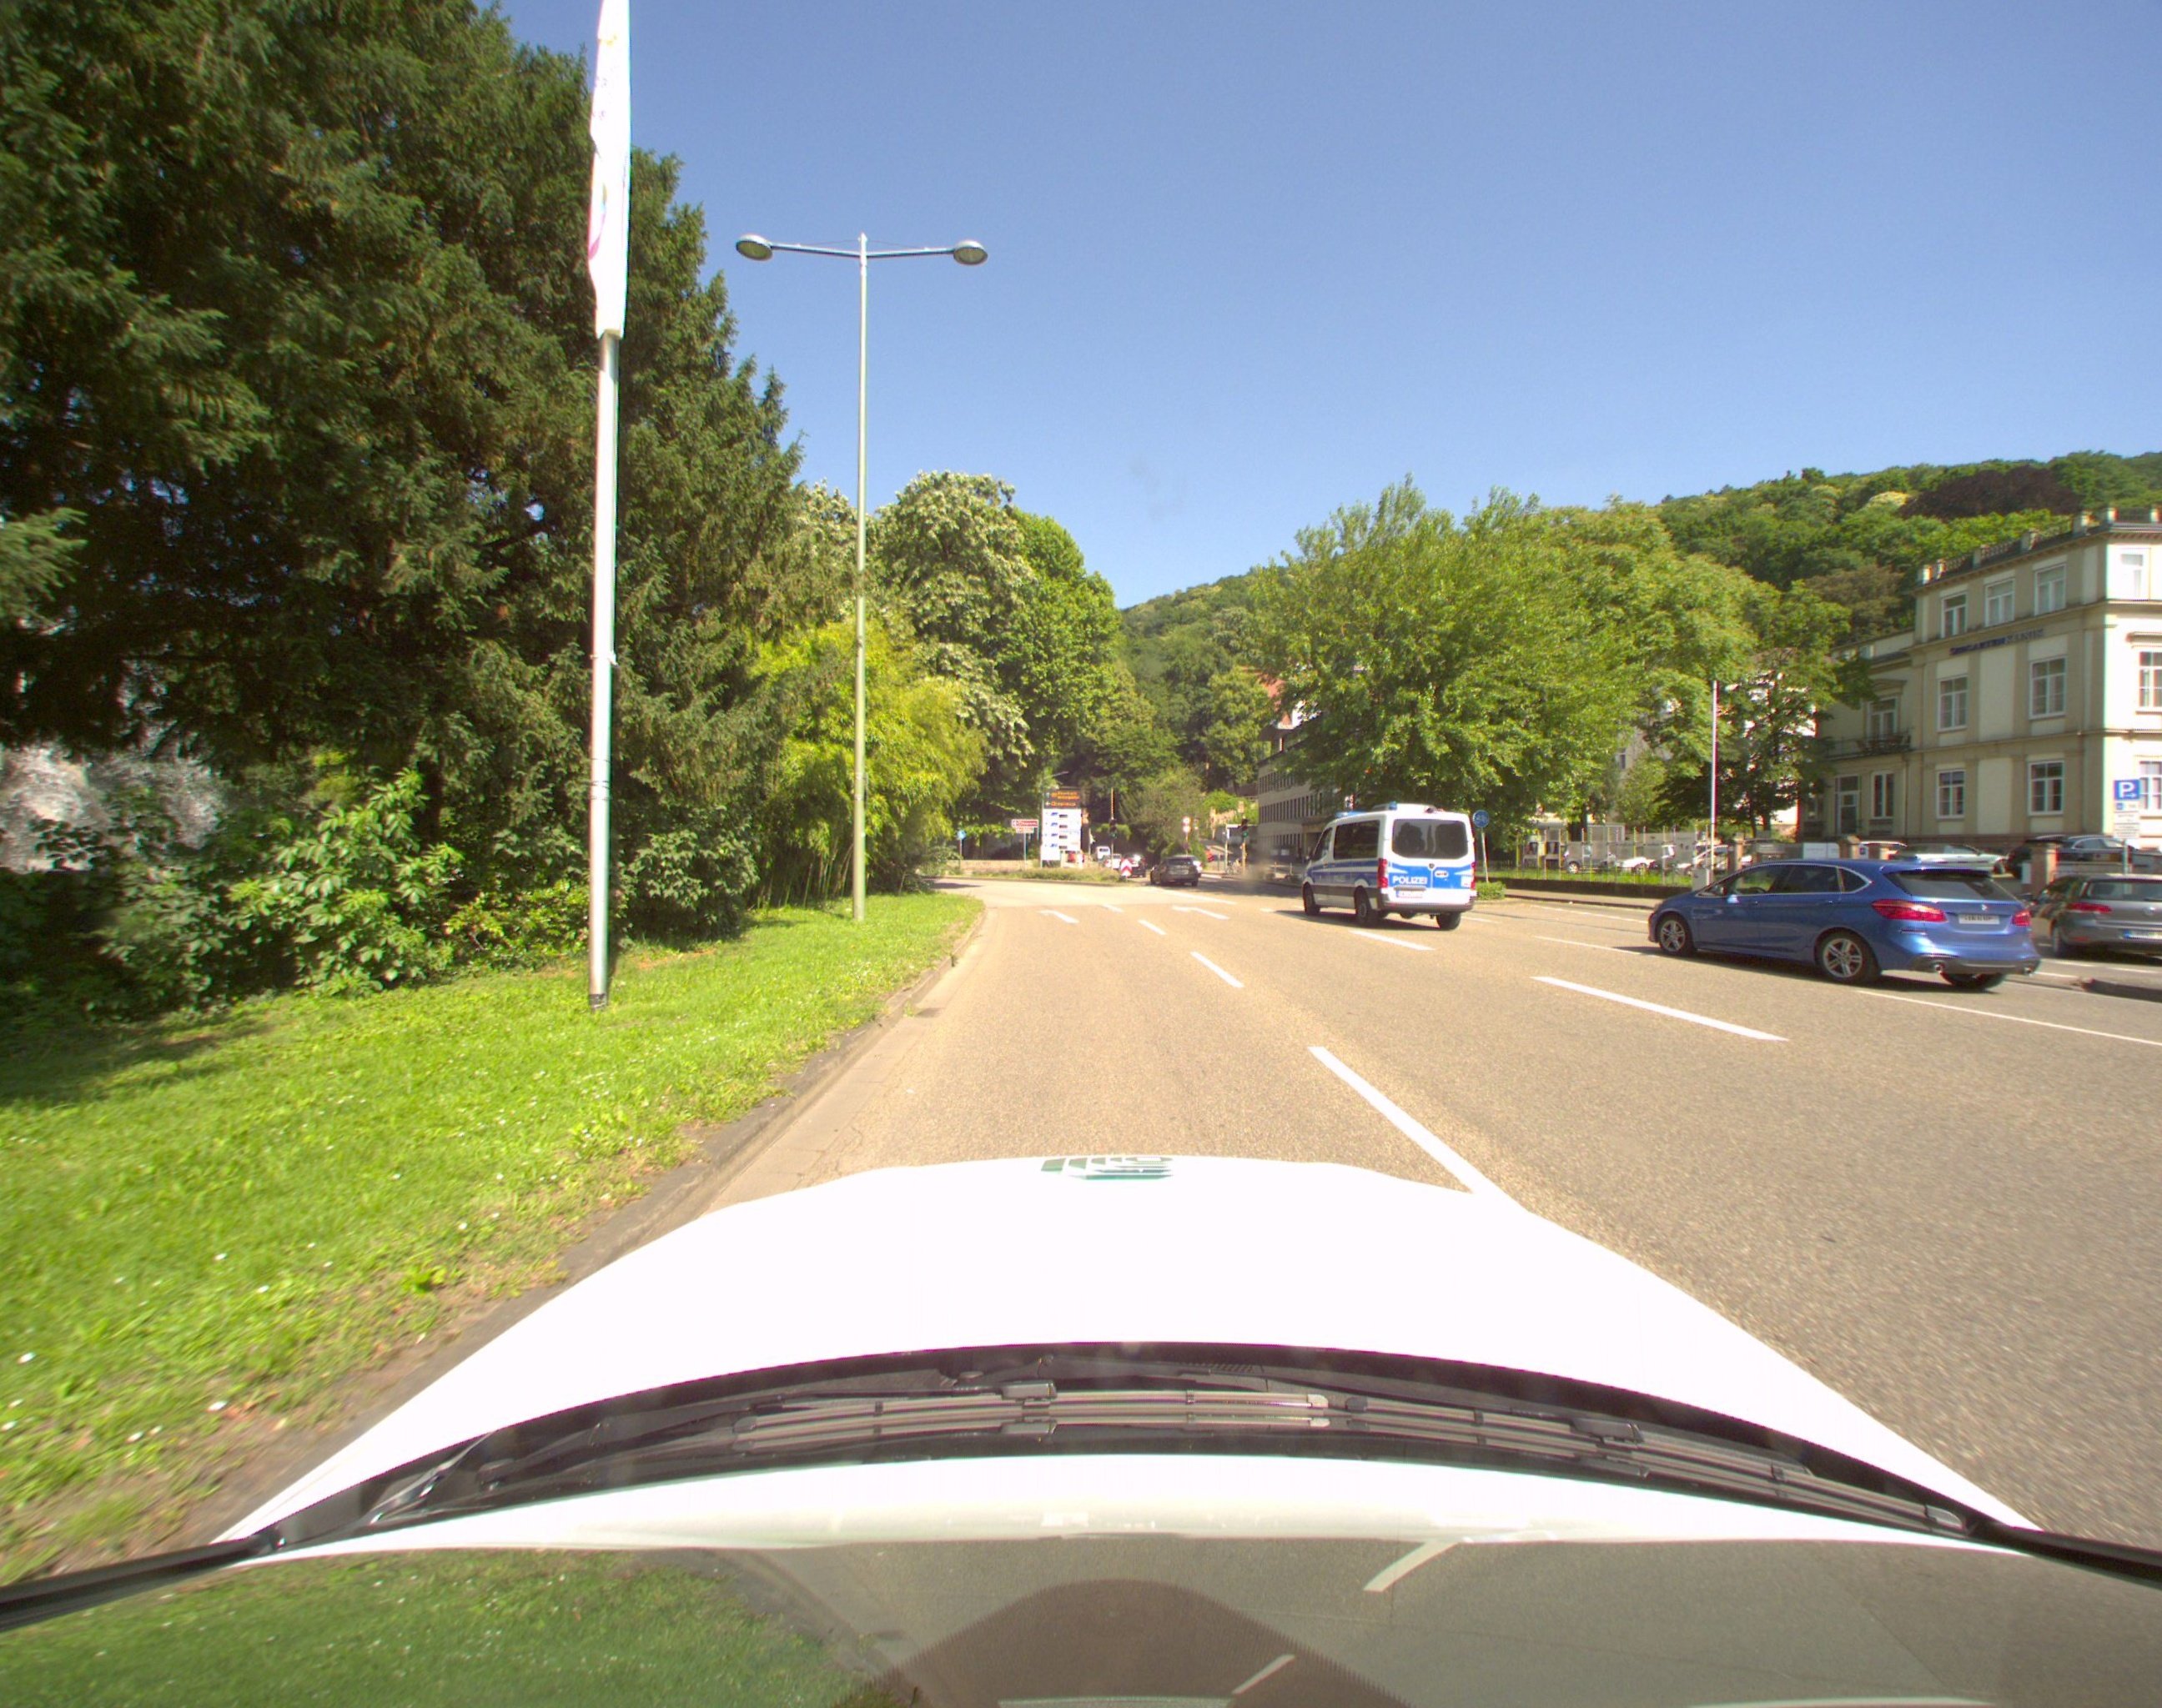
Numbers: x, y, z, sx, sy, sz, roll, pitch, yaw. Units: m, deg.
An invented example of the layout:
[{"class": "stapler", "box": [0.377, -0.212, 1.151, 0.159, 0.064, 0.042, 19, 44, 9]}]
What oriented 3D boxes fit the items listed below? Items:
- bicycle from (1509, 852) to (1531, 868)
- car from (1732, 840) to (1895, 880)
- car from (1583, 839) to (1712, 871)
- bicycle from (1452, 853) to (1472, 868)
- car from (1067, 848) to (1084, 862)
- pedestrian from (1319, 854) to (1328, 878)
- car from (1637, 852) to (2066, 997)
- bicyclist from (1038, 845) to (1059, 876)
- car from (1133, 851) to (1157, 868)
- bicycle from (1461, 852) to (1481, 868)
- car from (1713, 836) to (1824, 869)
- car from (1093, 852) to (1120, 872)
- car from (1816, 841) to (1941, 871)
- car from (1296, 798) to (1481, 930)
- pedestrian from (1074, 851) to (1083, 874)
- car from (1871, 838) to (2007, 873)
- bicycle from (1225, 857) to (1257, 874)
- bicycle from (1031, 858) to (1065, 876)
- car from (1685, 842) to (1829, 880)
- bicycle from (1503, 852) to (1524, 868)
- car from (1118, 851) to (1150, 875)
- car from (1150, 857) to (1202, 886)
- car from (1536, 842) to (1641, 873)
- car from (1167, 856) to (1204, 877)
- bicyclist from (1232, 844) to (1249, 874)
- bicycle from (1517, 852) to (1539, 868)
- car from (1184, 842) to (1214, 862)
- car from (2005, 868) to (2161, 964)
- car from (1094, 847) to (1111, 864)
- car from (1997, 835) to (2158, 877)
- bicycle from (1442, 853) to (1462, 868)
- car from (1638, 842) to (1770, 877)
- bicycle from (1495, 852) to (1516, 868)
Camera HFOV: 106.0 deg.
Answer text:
[{"class": "bicycle", "box": [31.005, 0.420, 57.500, 0.535, 1.085, 1.834, 0, 0, 0]}, {"class": "car", "box": [25.181, 0.193, 28.098, 4.033, 1.336, 1.988, 0, 0, -5]}, {"class": "car", "box": [24.346, 0.043, 35.078, 4.458, 1.336, 1.818, 0, 0, -5]}, {"class": "bicycle", "box": [26.693, 0.443, 57.139, 0.535, 1.085, 1.834, 0, 0, 0]}, {"class": "car", "box": [-0.595, 0.113, 90.873, 1.752, 1.461, 3.491, 1, 0, -3]}, {"class": "pedestrian", "box": [14.576, 0.702, 48.974, 0.485, 1.458, 0.738, -1, -1, 21]}, {"class": "car", "box": [9.981, 0.775, 11.126, 1.715, 1.541, 4.268, 1, 1, -3]}, {"class": "bicyclist", "box": [-2.079, 0.420, 51.967, 1.116, 1.932, 0.752, 0, 0, 22]}, {"class": "car", "box": [5.726, 0.451, 73.062, 1.752, 1.461, 3.642, 1, 0, -3]}, {"class": "bicycle", "box": [27.338, 0.440, 57.162, 0.535, 1.085, 1.834, 0, 0, 0]}, {"class": "car", "box": [34.831, -0.069, 41.310, 4.300, 1.603, 1.818, 0, 0, -5]}, {"class": "car", "box": [1.928, 0.616, 62.360, 1.752, 1.461, 3.642, 1, 0, -3]}, {"class": "car", "box": [35.927, 0.087, 36.740, 4.069, 1.336, 1.818, 0, 0, -5]}, {"class": "car", "box": [6.528, 0.199, 18.010, 2.068, 2.508, 4.924, 1, 0, -3]}, {"class": "pedestrian", "box": [-0.176, 0.621, 57.794, 0.544, 1.621, 0.635, 0, 0, 7]}, {"class": "car", "box": [35.818, 0.037, 34.035, 4.042, 1.419, 1.818, 0, 0, -5]}, {"class": "bicycle", "box": [10.571, 0.745, 53.993, 2.064, 1.112, 0.759, 0, 0, 9]}, {"class": "bicycle", "box": [-2.103, 0.848, 51.983, 2.058, 1.112, 0.761, 0, 0, 22]}, {"class": "car", "box": [25.192, 0.248, 30.419, 4.033, 1.336, 1.857, 0, 0, -5]}, {"class": "bicycle", "box": [30.415, 0.423, 57.285, 0.535, 1.085, 1.834, 0, 0, 0]}, {"class": "car", "box": [3.456, 0.563, 53.385, 1.752, 1.461, 3.491, 1, 0, -3]}, {"class": "car", "box": [4.608, 0.830, 39.911, 1.754, 1.334, 3.794, 1, 0, -6]}, {"class": "car", "box": [24.820, 0.169, 39.881, 4.139, 1.476, 1.873, 0, 0, -7]}, {"class": "car", "box": [6.560, 0.787, 51.556, 1.752, 1.213, 3.491, 1, 0, -3]}, {"class": "bicyclist", "box": [10.555, 0.335, 53.996, 1.119, 1.932, 0.750, 0, 0, 10]}, {"class": "bicycle", "box": [31.602, 0.417, 57.581, 0.535, 1.085, 1.834, 0, 0, 0]}, {"class": "car", "box": [10.373, -0.148, 71.818, 1.926, 1.697, 3.996, 0, 0, -2]}, {"class": "car", "box": [18.172, 1.007, 14.463, 1.804, 1.461, 4.132, 1, 0, 41]}, {"class": "car", "box": [2.505, 0.155, 95.367, 1.752, 1.938, 3.491, 1, 0, -3]}, {"class": "car", "box": [36.997, 0.058, 30.306, 4.042, 1.509, 1.862, 0, 0, -5]}, {"class": "bicycle", "box": [26.109, 0.447, 57.316, 0.535, 1.085, 1.834, 0, 0, 0]}, {"class": "car", "box": [24.844, 0.212, 32.546, 4.078, 1.336, 1.818, 0, 0, -5]}, {"class": "bicycle", "box": [29.803, 0.426, 57.194, 0.535, 1.085, 1.834, 0, 0, 0]}]
